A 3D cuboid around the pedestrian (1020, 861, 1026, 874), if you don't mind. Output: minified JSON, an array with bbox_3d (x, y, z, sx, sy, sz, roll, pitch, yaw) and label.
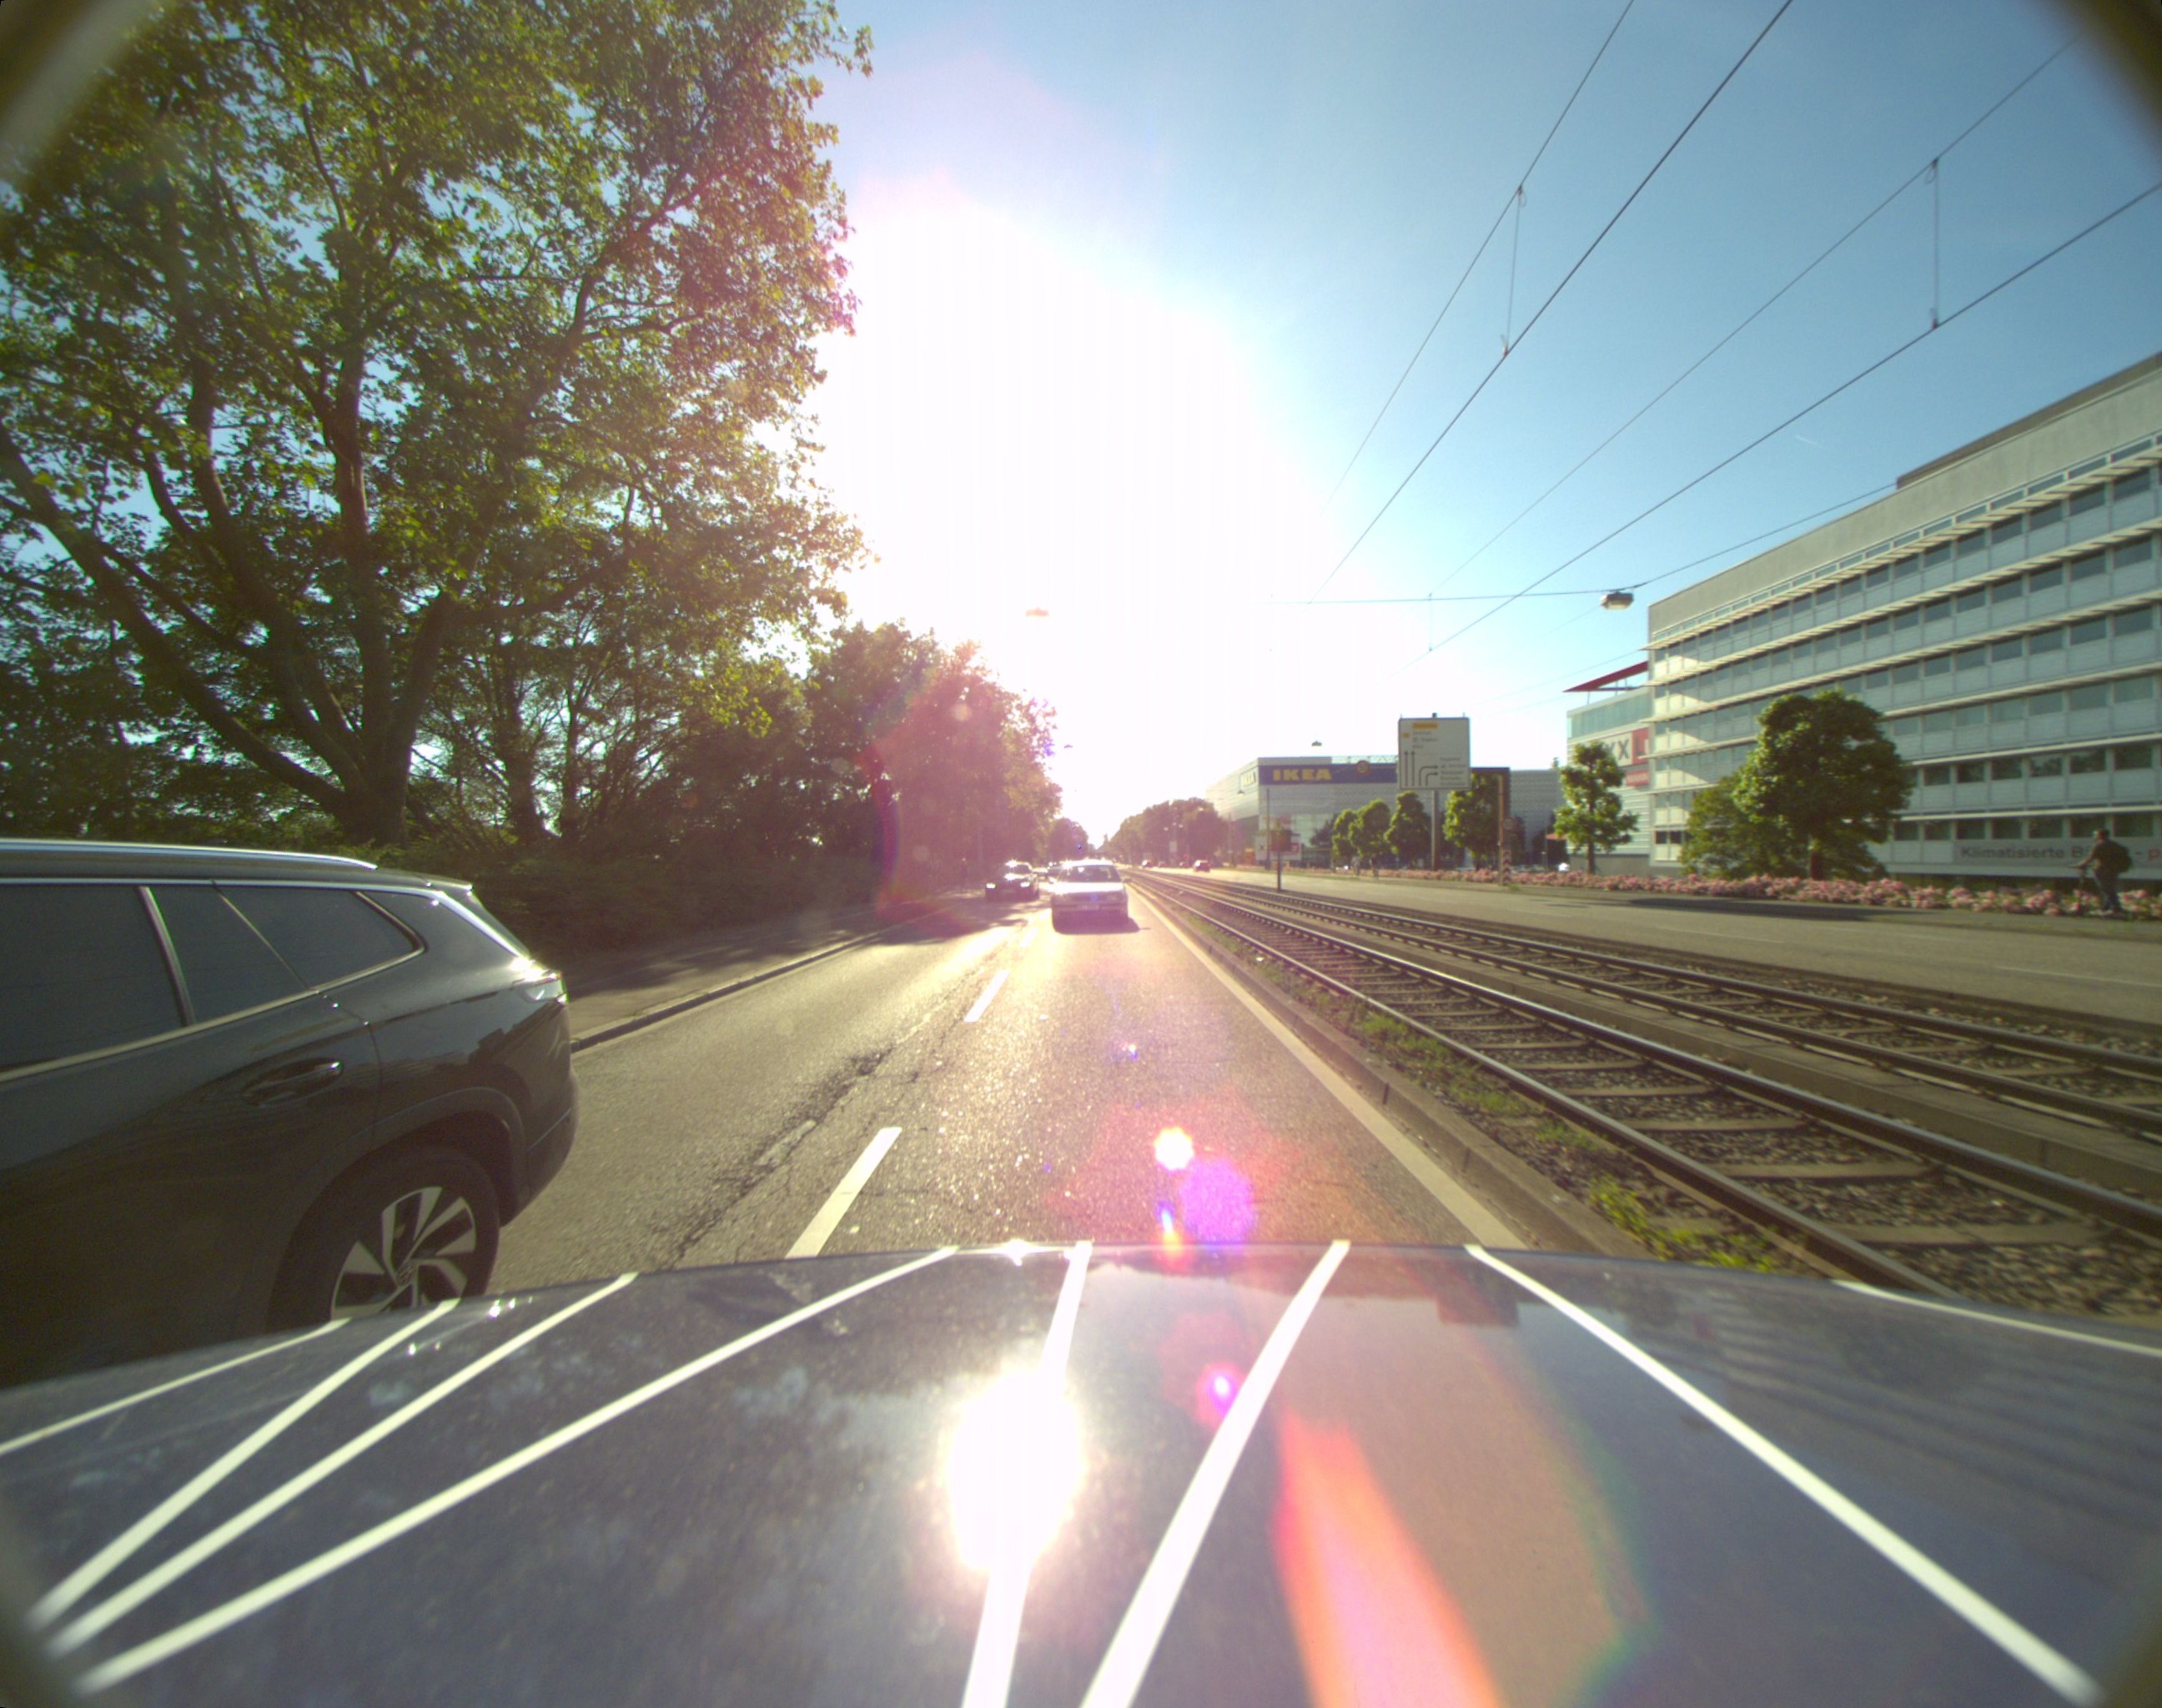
[{"bbox_3d":[-7.325,1.699,96.546,0.724,1.697,0.813,0,0,0],"label":"pedestrian"}]

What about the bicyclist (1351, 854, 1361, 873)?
[{"bbox_3d":[24.223,0.822,66.932,0.604,1.649,0.963,-3,0,7],"label":"bicyclist"}]

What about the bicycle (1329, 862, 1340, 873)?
[{"bbox_3d":[25.930,1.366,77.783,0.626,1.052,1.704,-1,0,5],"label":"bicycle"}]

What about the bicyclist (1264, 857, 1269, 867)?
[{"bbox_3d":[29.522,1.286,120.683,0.662,1.614,0.802,-3,0,10],"label":"bicyclist"}]

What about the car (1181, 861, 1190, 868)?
[{"bbox_3d":[22.718,2.303,165.094,1.938,1.468,4.135,1,0,9],"label":"car"}]

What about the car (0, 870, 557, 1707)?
[{"bbox_3d":[-2.919,0.910,0.648,1.849,1.651,4.439,-1,0,0],"label":"car"}]

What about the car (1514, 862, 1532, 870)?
[{"bbox_3d":[94.482,2.614,162.469,1.727,1.645,4.001,-1,0,1],"label":"car"}]

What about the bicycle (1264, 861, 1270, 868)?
[{"bbox_3d":[29.524,1.684,120.557,0.662,1.144,2.023,-3,0,10],"label":"bicycle"}]

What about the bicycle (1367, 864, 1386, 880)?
[{"bbox_3d":[20.263,1.230,52.166,0.706,1.067,2.028,-3,0,7],"label":"bicycle"}]

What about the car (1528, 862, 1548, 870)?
[{"bbox_3d":[97.416,2.531,161.921,1.800,1.645,4.001,-1,0,1],"label":"car"}]

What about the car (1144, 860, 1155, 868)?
[{"bbox_3d":[14.464,2.034,160.068,1.998,1.645,4.659,0,0,1],"label":"car"}]

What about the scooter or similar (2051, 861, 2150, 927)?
[{"bbox_3d":[21.190,0.806,15.825,0.473,1.288,1.263,-1,0,7],"label":"scooter or similar"}]

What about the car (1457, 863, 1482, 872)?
[{"bbox_3d":[82.204,2.851,160.829,1.829,1.789,4.220,-3,0,-35],"label":"car"}]

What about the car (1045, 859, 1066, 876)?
[{"bbox_3d":[-2.306,1.239,68.686,1.857,1.415,3.979,-2,-1,-2],"label":"car"}]

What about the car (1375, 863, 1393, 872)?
[{"bbox_3d":[65.177,2.893,163.424,1.935,1.734,3.999,-3,0,-3],"label":"car"}]

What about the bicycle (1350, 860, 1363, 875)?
[{"bbox_3d":[24.248,1.182,66.975,0.604,1.212,1.749,-3,0,7],"label":"bicycle"}]

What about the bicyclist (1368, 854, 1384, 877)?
[{"bbox_3d":[20.248,0.804,52.190,0.706,1.503,0.971,-3,0,7],"label":"bicyclist"}]

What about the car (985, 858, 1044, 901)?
[{"bbox_3d":[-2.531,0.960,29.991,1.870,1.459,4.586,-2,0,0],"label":"car"}]

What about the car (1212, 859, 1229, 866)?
[{"bbox_3d":[35.729,2.171,194.575,4.252,1.489,2.017,1,1,5],"label":"car"}]

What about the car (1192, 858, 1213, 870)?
[{"bbox_3d":[16.429,1.355,103.076,2.044,1.494,4.887,-1,0,1],"label":"car"}]

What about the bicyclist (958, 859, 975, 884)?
[{"bbox_3d":[-5.604,0.843,37.220,0.642,1.218,0.891,-1,0,0],"label":"bicyclist"}]

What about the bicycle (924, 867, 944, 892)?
[{"bbox_3d":[-7.131,1.219,36.890,0.623,1.113,1.813,-1,0,0],"label":"bicycle"}]

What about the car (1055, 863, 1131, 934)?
[{"bbox_3d":[0.288,0.972,18.178,1.602,1.440,3.799,-1,0,1],"label":"car"}]

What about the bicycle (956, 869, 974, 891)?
[{"bbox_3d":[-5.607,1.253,36.876,0.566,0.968,1.788,-1,0,0],"label":"bicycle"}]

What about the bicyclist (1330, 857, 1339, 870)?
[{"bbox_3d":[25.918,0.989,77.673,0.626,1.366,0.880,-1,0,5],"label":"bicyclist"}]

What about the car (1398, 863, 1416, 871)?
[{"bbox_3d":[70.160,2.706,163.718,1.935,1.583,3.999,-3,-1,-3],"label":"car"}]

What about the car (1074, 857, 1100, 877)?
[{"bbox_3d":[0.519,1.002,59.644,1.871,1.422,3.832,-3,-1,2],"label":"car"}]

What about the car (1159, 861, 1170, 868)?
[{"bbox_3d":[18.247,2.353,166.715,1.861,1.452,4.137,-1,-1,-1],"label":"car"}]

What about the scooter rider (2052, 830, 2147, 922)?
[{"bbox_3d":[21.187,0.446,15.832,0.683,1.837,1.001,-1,0,8],"label":"scooter rider"}]

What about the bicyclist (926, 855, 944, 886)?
[{"bbox_3d":[-7.126,0.799,37.019,0.687,1.500,0.891,0,0,0],"label":"bicyclist"}]
